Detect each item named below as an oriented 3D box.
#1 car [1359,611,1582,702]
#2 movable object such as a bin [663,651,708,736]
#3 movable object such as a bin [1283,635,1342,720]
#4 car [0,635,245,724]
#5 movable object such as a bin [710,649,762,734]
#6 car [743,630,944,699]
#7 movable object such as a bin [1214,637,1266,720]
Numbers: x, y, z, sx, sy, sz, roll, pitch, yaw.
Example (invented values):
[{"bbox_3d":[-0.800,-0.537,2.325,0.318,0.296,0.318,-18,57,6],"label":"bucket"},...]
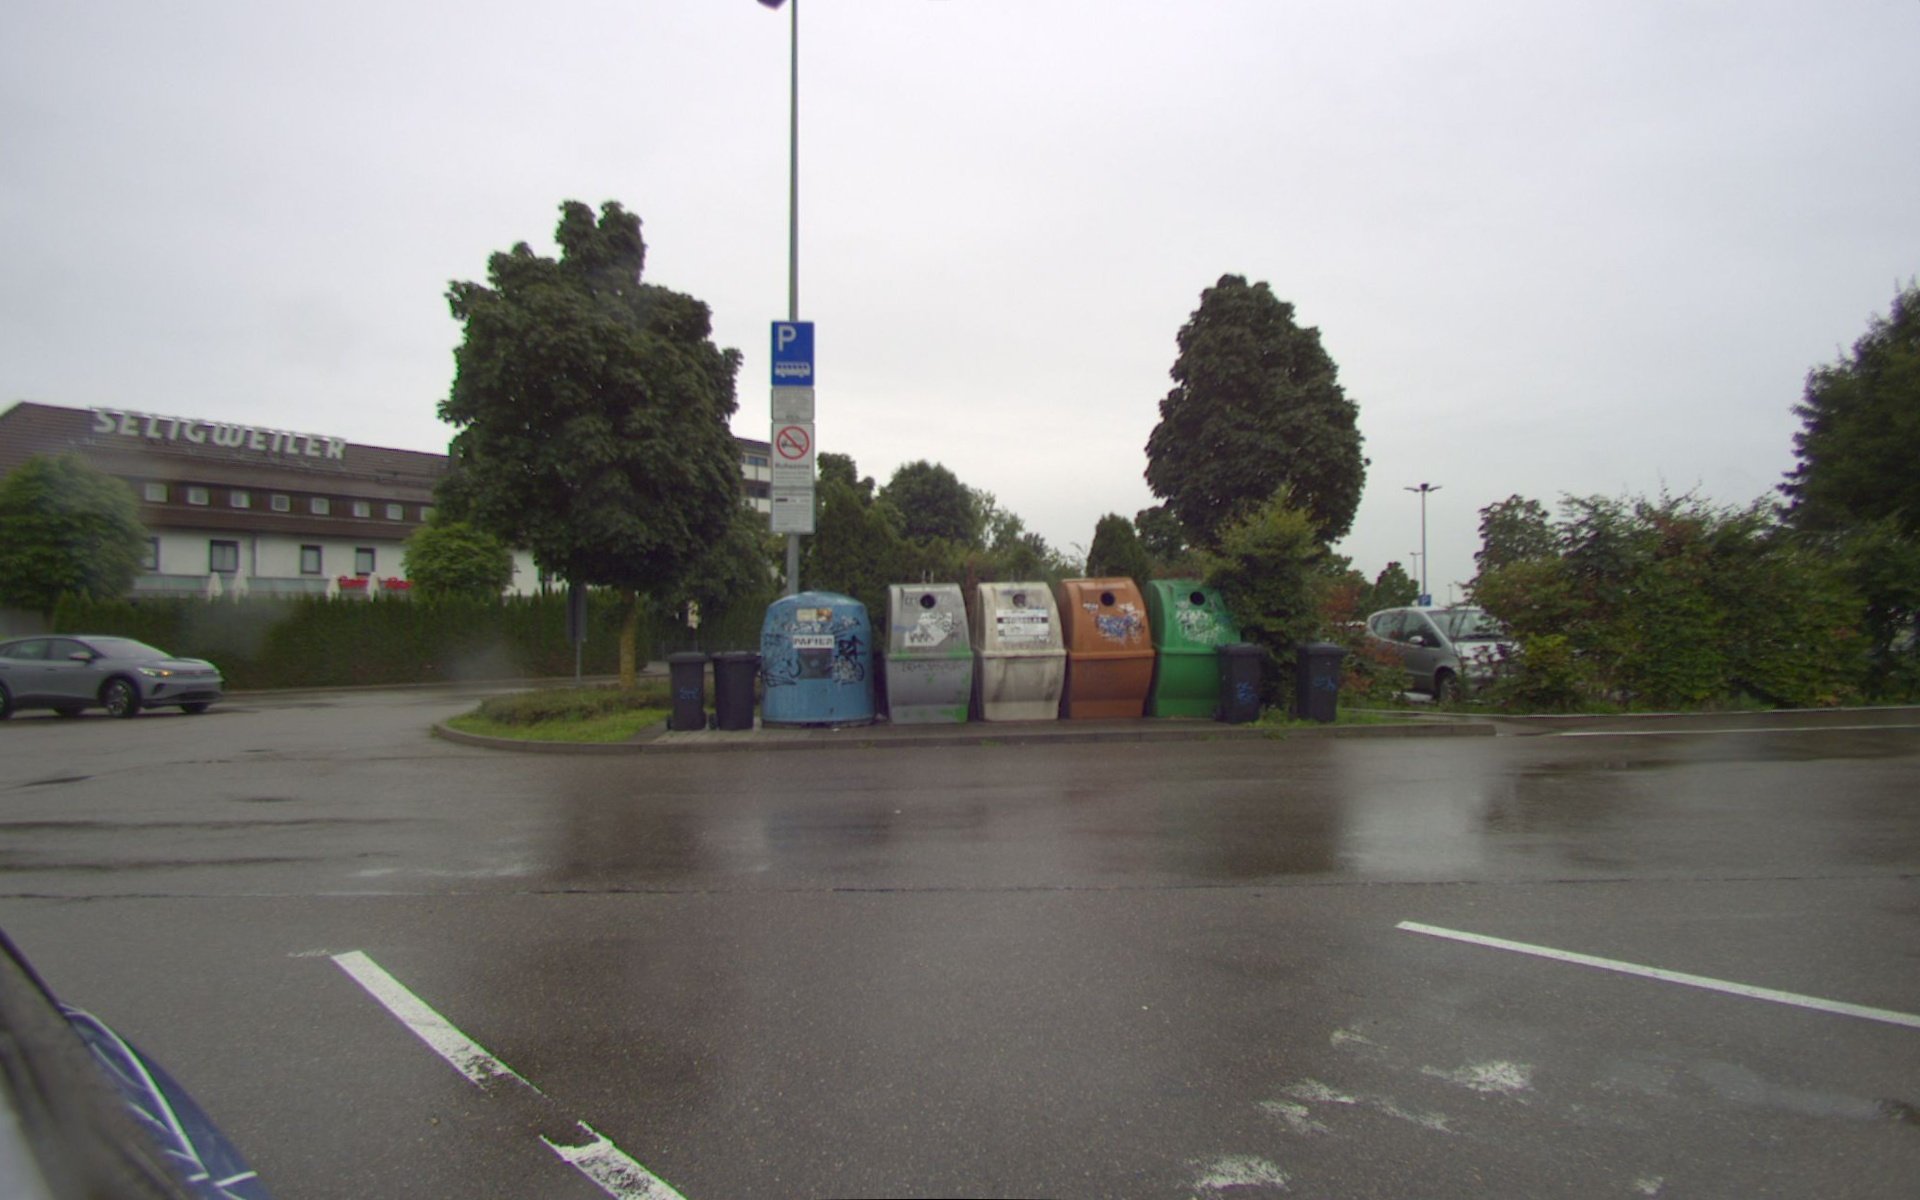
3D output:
[{"bbox_3d":[8.142,0.848,16.543,1.783,1.278,3.647,-1,-1,1],"label":"car"},{"bbox_3d":[-3.247,1.089,11.956,0.427,0.956,0.475,-1,-1,-24],"label":"movable object such as a bin"},{"bbox_3d":[3.979,0.870,11.442,0.432,0.923,0.509,-2,-2,-1],"label":"movable object such as a bin"},{"bbox_3d":[-16.949,1.543,19.922,4.440,1.586,1.998,-2,-2,3],"label":"car"},{"bbox_3d":[-2.639,1.066,11.916,0.450,0.956,0.400,-2,-1,41],"label":"movable object such as a bin"},{"bbox_3d":[-2.641,1.481,23.440,4.280,1.460,1.864,-2,-2,9],"label":"car"},{"bbox_3d":[3.231,0.899,11.717,0.433,0.930,0.508,-2,-2,2],"label":"movable object such as a bin"}]
